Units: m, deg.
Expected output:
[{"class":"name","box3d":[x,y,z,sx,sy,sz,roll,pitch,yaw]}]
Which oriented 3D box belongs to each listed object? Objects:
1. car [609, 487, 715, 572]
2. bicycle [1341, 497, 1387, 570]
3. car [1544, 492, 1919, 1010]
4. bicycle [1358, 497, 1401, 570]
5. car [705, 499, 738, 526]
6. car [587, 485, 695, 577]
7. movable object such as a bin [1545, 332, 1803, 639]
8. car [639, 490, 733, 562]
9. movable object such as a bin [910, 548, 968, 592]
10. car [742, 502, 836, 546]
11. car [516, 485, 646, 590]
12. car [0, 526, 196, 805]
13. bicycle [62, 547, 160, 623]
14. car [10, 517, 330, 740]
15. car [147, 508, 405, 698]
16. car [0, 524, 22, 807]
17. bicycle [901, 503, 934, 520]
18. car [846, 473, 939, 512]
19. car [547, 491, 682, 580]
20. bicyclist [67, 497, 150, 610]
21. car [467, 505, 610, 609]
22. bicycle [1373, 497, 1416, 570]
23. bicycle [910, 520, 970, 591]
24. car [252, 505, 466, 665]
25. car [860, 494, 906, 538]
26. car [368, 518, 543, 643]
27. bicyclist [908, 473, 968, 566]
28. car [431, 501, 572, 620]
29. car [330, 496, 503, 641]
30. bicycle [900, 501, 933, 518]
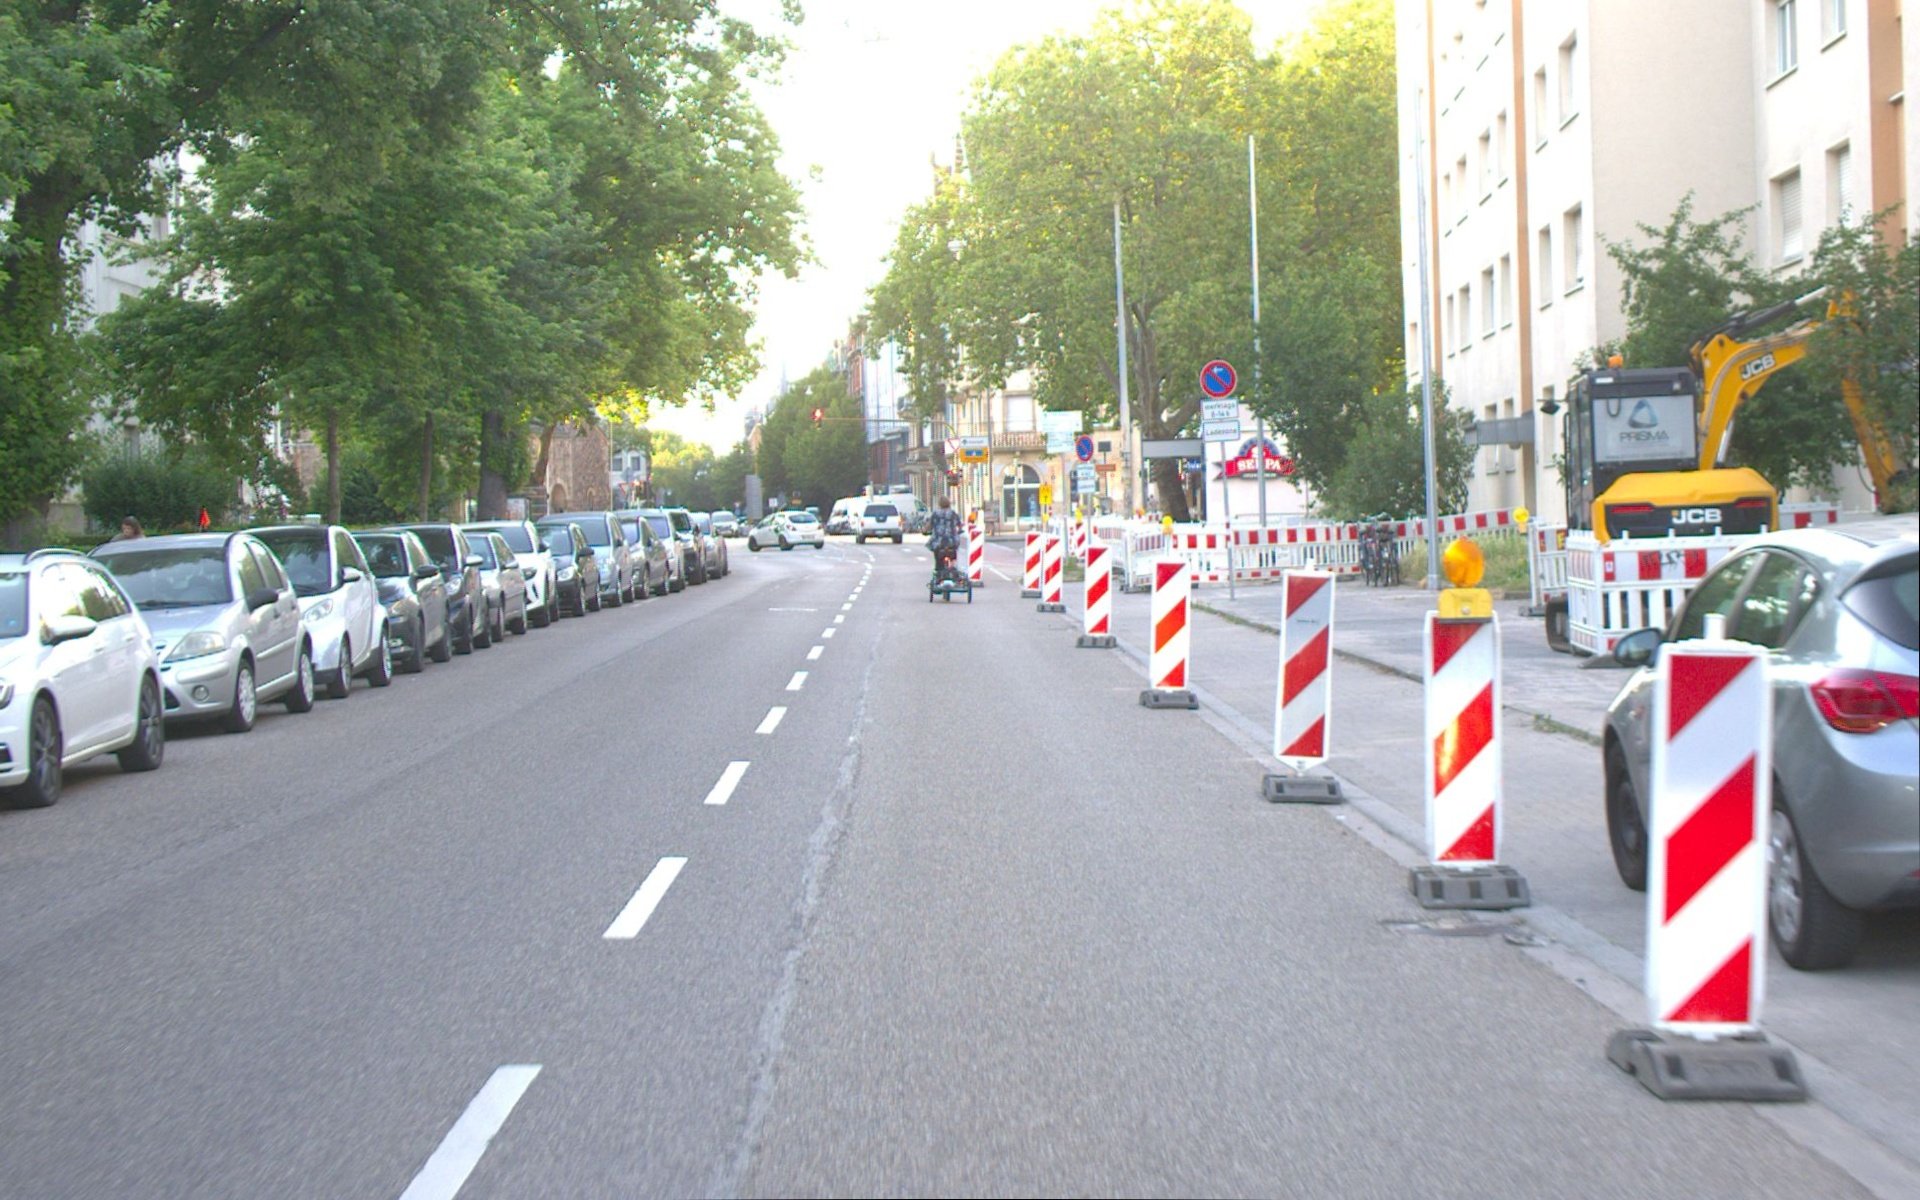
[{"class":"car","box3d":[-6.557,-1.585,76.053,1.953,1.713,4.772,-3,2,-1]},{"class":"bicycle","box3d":[6.879,-1.138,58.604,0.451,1.217,1.911,-1,2,-3]},{"class":"car","box3d":[3.515,0.392,12.926,1.776,1.485,4.574,-5,2,0]},{"class":"bicycle","box3d":[7.152,-1.139,58.697,0.398,1.217,1.911,-1,2,-3]},{"class":"car","box3d":[-14.898,-5.463,214.575,1.781,1.645,3.822,0,1,-9]},{"class":"car","box3d":[-6.348,-1.397,68.801,1.846,1.685,4.860,-3,2,-3]},{"class":"movable object such as a bin","box3d":[6.556,-1.054,31.841,1.933,2.683,2.891,-1,2,4]},{"class":"car","box3d":[-6.656,-1.829,83.889,1.953,1.611,4.606,-3,2,-1]},{"class":"movable object such as a bin","box3d":[-0.353,-0.522,59.038,0.939,0.686,0.993,-4,1,1]},{"class":"car","box3d":[-6.657,-2.939,133.369,1.866,1.580,4.000,-3,2,-32]},{"class":"car","box3d":[-6.416,-1.086,58.538,1.707,1.595,4.117,-4,2,-1]},{"class":"car","box3d":[-5.931,0.360,20.576,1.692,1.454,4.484,-4,2,-1]},{"class":"bicycle","box3d":[-10.664,-0.200,43.221,0.808,0.908,1.762,0,2,-1]},{"class":"car","box3d":[-6.087,0.160,26.875,1.590,1.500,3.800,-4,2,-1]},{"class":"car","box3d":[-6.150,-0.011,31.193,1.590,1.523,2.921,-4,2,1]},{"class":"car","box3d":[-5.747,0.441,16.007,1.692,1.454,4.146,-4,2,-2]},{"class":"bicycle","box3d":[-2.537,-5.255,203.945,1.914,0.964,0.546,-1,2,-2]},{"class":"car","box3d":[-4.098,-6.583,210.138,5.807,2.280,2.071,-3,2,-43]},{"class":"car","box3d":[-6.321,-1.208,63.342,1.733,1.491,4.270,-3,2,4]},{"class":"bicyclist","box3d":[-10.706,-0.589,43.256,0.808,1.399,0.974,0,2,-1]},{"class":"car","box3d":[-6.601,-0.704,54.127,1.707,1.447,3.843,-4,2,0]},{"class":"bicycle","box3d":[7.404,-1.137,58.631,0.398,1.217,1.826,-1,2,-3]},{"class":"bicycle","box3d":[-0.344,-0.801,60.715,0.939,1.168,2.359,-4,1,1]},{"class":"car","box3d":[-6.215,-0.200,35.909,1.590,1.461,4.103,-4,2,-2]},{"class":"car","box3d":[-3.323,-3.622,147.863,1.866,1.808,4.001,-2,2,-2]},{"class":"car","box3d":[-6.453,-0.288,44.330,1.590,1.399,4.181,-4,2,-1]},{"class":"bicyclist","box3d":[-0.384,-1.418,60.721,0.939,1.576,1.146,-4,1,1]},{"class":"car","box3d":[-6.586,-0.602,49.733,1.590,1.533,4.207,-4,2,-3]},{"class":"car","box3d":[-6.309,-0.396,40.179,1.523,1.523,3.165,-4,2,-2]},{"class":"bicycle","box3d":[-2.564,-5.366,203.769,1.914,0.964,0.546,-1,2,-2]}]
